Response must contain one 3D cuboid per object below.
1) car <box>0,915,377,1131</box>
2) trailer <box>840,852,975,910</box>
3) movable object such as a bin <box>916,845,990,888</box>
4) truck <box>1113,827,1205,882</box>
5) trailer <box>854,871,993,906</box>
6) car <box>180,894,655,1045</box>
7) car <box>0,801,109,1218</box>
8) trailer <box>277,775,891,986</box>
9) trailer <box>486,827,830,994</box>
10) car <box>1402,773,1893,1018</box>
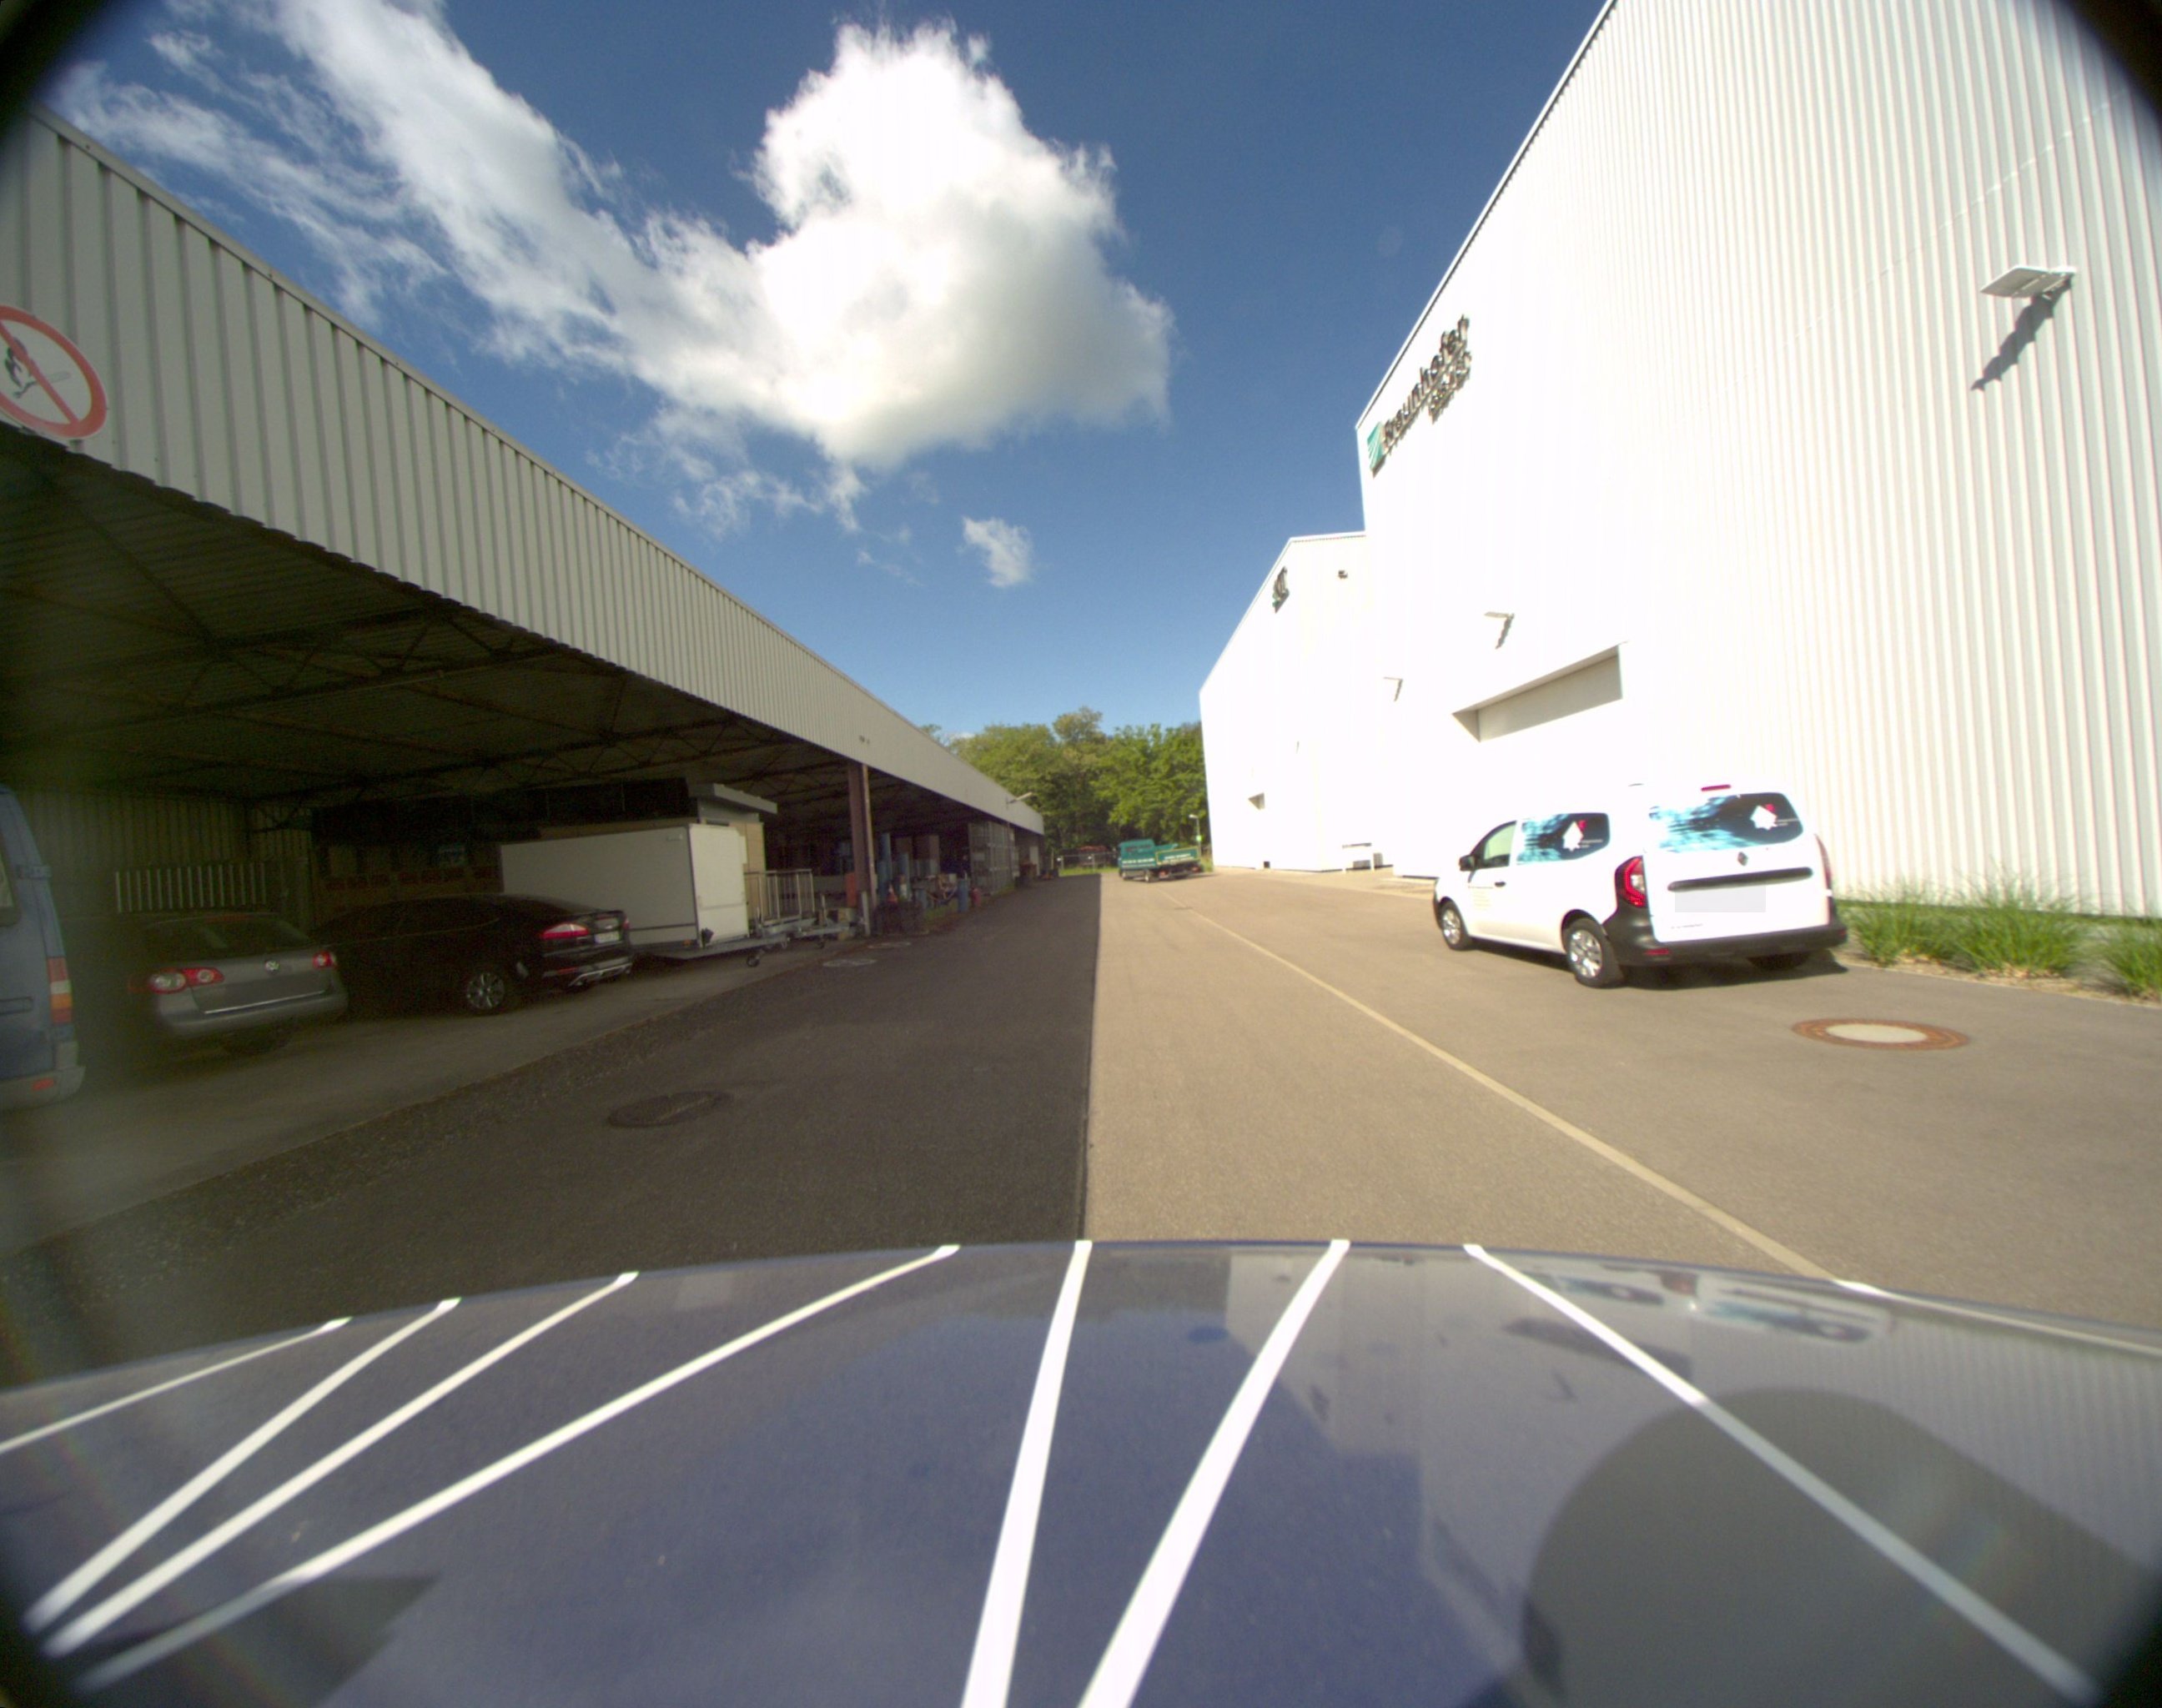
[{"bbox_3d":[-9.225,1.448,6.784,4.117,1.445,1.850,-3,1,1],"label":"car"},{"bbox_3d":[-6.924,1.062,30.674,4.828,1.985,2.047,-3,1,4],"label":"trailer"},{"bbox_3d":[-8.776,0.855,52.392,4.626,2.706,2.000,-3,-1,0],"label":"movable object such as a bin"},{"bbox_3d":[4.448,0.137,46.193,2.589,2.701,9.688,-7,0,-11],"label":"truck"},{"bbox_3d":[-6.960,1.519,34.013,5.748,1.126,2.009,-4,0,0],"label":"trailer"},{"bbox_3d":[-8.260,1.397,9.819,4.355,1.425,1.864,-3,1,-2],"label":"car"},{"bbox_3d":[-8.577,1.020,3.562,5.229,2.284,2.084,-4,1,1],"label":"car"},{"bbox_3d":[-9.315,0.505,14.957,10.317,3.276,2.675,-3,0,2],"label":"trailer"},{"bbox_3d":[-6.715,0.867,12.373,4.552,2.321,1.689,-3,0,2],"label":"trailer"},{"bbox_3d":[5.512,0.338,8.392,1.933,1.779,4.598,-6,0,2],"label":"car"}]
